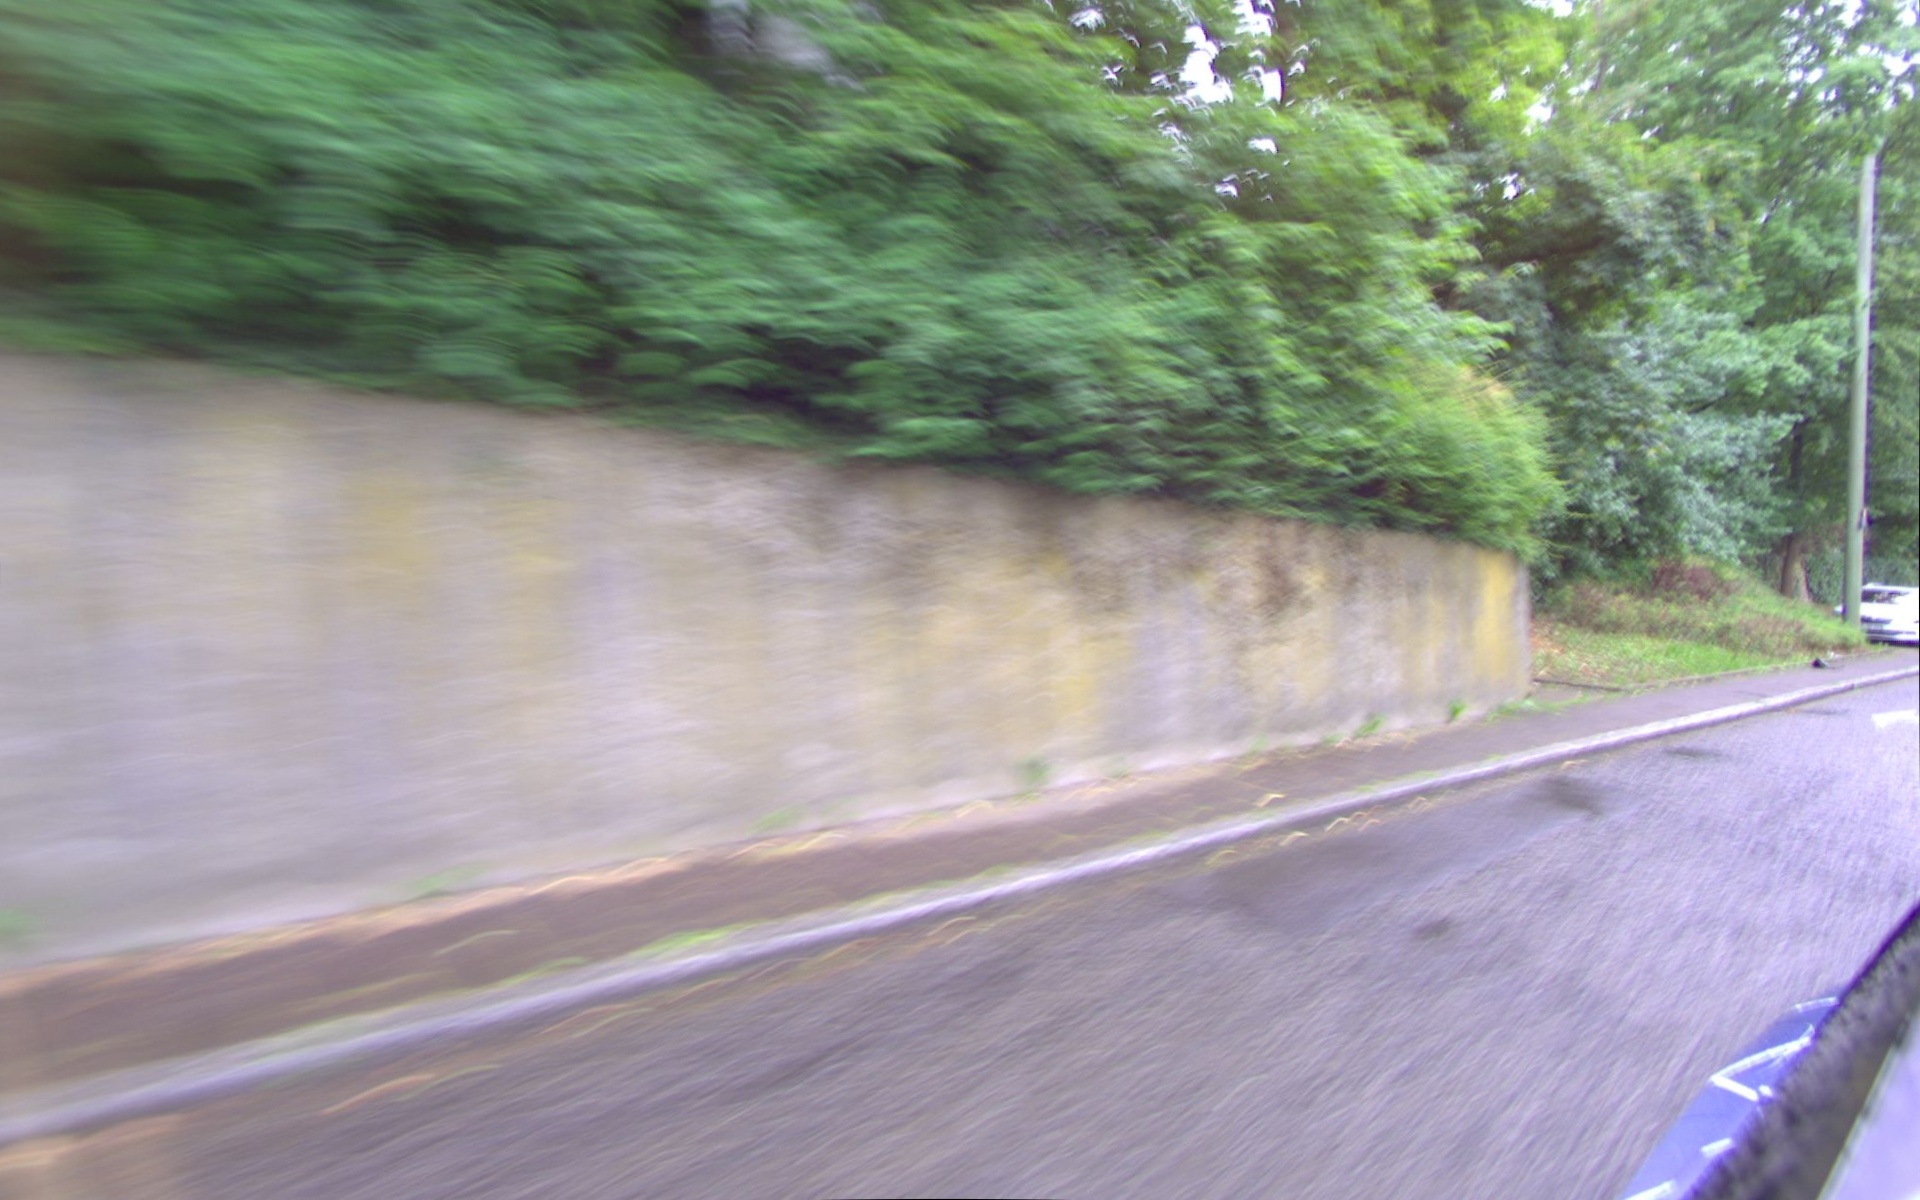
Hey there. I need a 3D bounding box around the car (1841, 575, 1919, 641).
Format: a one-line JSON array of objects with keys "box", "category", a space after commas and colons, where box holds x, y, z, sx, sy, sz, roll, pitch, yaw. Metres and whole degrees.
[{"box": [24.266, 0.176, 25.786, 4.652, 1.495, 1.745, 0, 4, -37], "category": "car"}]
